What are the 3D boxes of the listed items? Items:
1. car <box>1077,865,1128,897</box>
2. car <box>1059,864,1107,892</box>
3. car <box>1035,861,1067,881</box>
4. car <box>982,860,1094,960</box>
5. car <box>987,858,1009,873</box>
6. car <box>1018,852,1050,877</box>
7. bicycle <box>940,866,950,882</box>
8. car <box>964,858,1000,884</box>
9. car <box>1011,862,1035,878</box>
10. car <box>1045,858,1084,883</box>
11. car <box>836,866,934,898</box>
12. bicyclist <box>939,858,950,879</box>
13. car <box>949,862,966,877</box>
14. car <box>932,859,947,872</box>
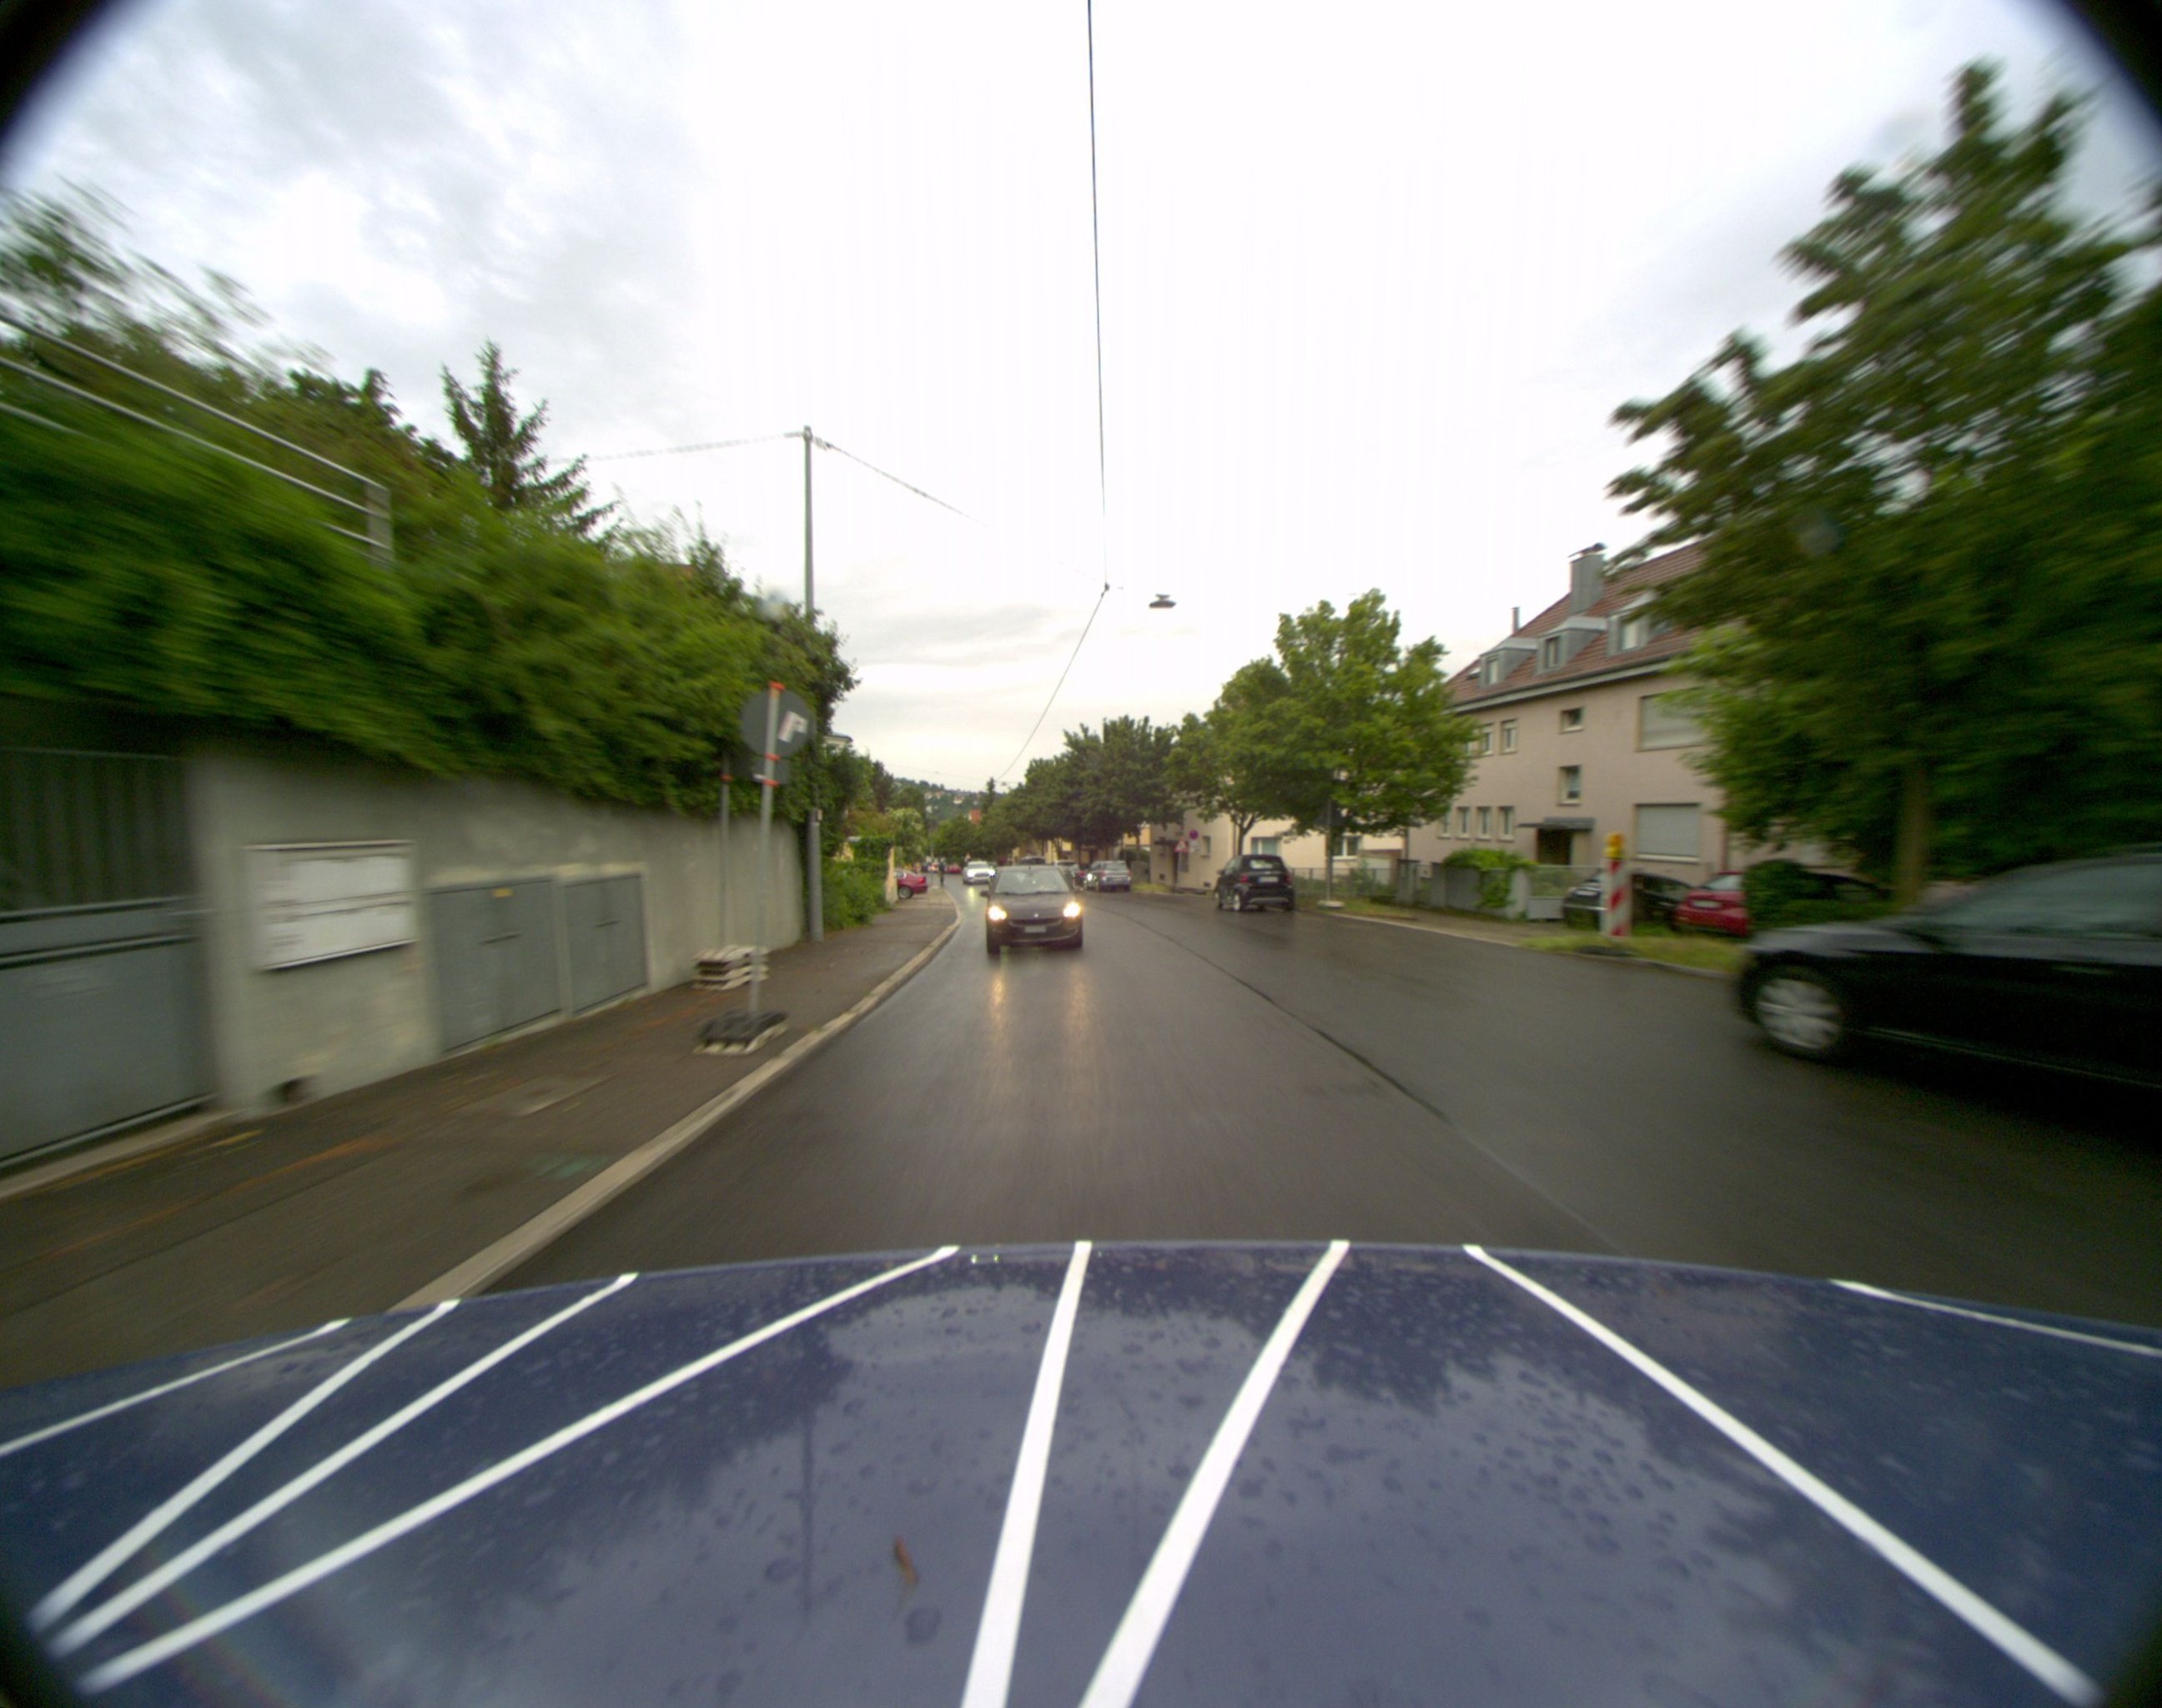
[{"bbox_3d":[1.097,1.428,40.911,1.723,1.536,4.289,1,0,-13],"label":"car"},{"bbox_3d":[0.063,1.383,45.539,1.828,1.500,4.733,0,0,-13],"label":"car"},{"bbox_3d":[-2.304,1.235,56.576,1.624,1.433,4.263,1,0,-13],"label":"car"},{"bbox_3d":[-0.924,0.932,14.563,1.747,1.434,4.356,-4,1,-6],"label":"car"},{"bbox_3d":[-9.307,1.296,84.924,1.912,1.591,4.084,-1,0,-15],"label":"car"},{"bbox_3d":[-3.962,0.891,63.859,1.825,2.000,4.557,1,0,-14],"label":"car"},{"bbox_3d":[-10.038,1.468,56.073,0.591,1.092,1.526,-3,1,-15],"label":"bicycle"},{"bbox_3d":[-7.445,1.219,56.605,2.020,1.728,4.593,-3,0,-15],"label":"car"},{"bbox_3d":[-5.270,1.412,68.816,1.544,1.365,3.535,1,0,-14],"label":"car"},{"bbox_3d":[-1.159,1.088,50.721,1.814,1.604,4.504,0,0,-12],"label":"car"},{"bbox_3d":[-8.975,1.288,35.023,4.184,1.397,1.833,1,-1,-8],"label":"car"},{"bbox_3d":[-10.069,1.047,56.109,0.685,1.528,0.784,-4,2,-15],"label":"bicyclist"},{"bbox_3d":[-16.966,2.058,104.885,1.999,2.002,3.998,-1,0,-5],"label":"car"},{"bbox_3d":[-22.534,1.889,120.987,2.001,2.002,3.994,-1,0,-16],"label":"car"}]
